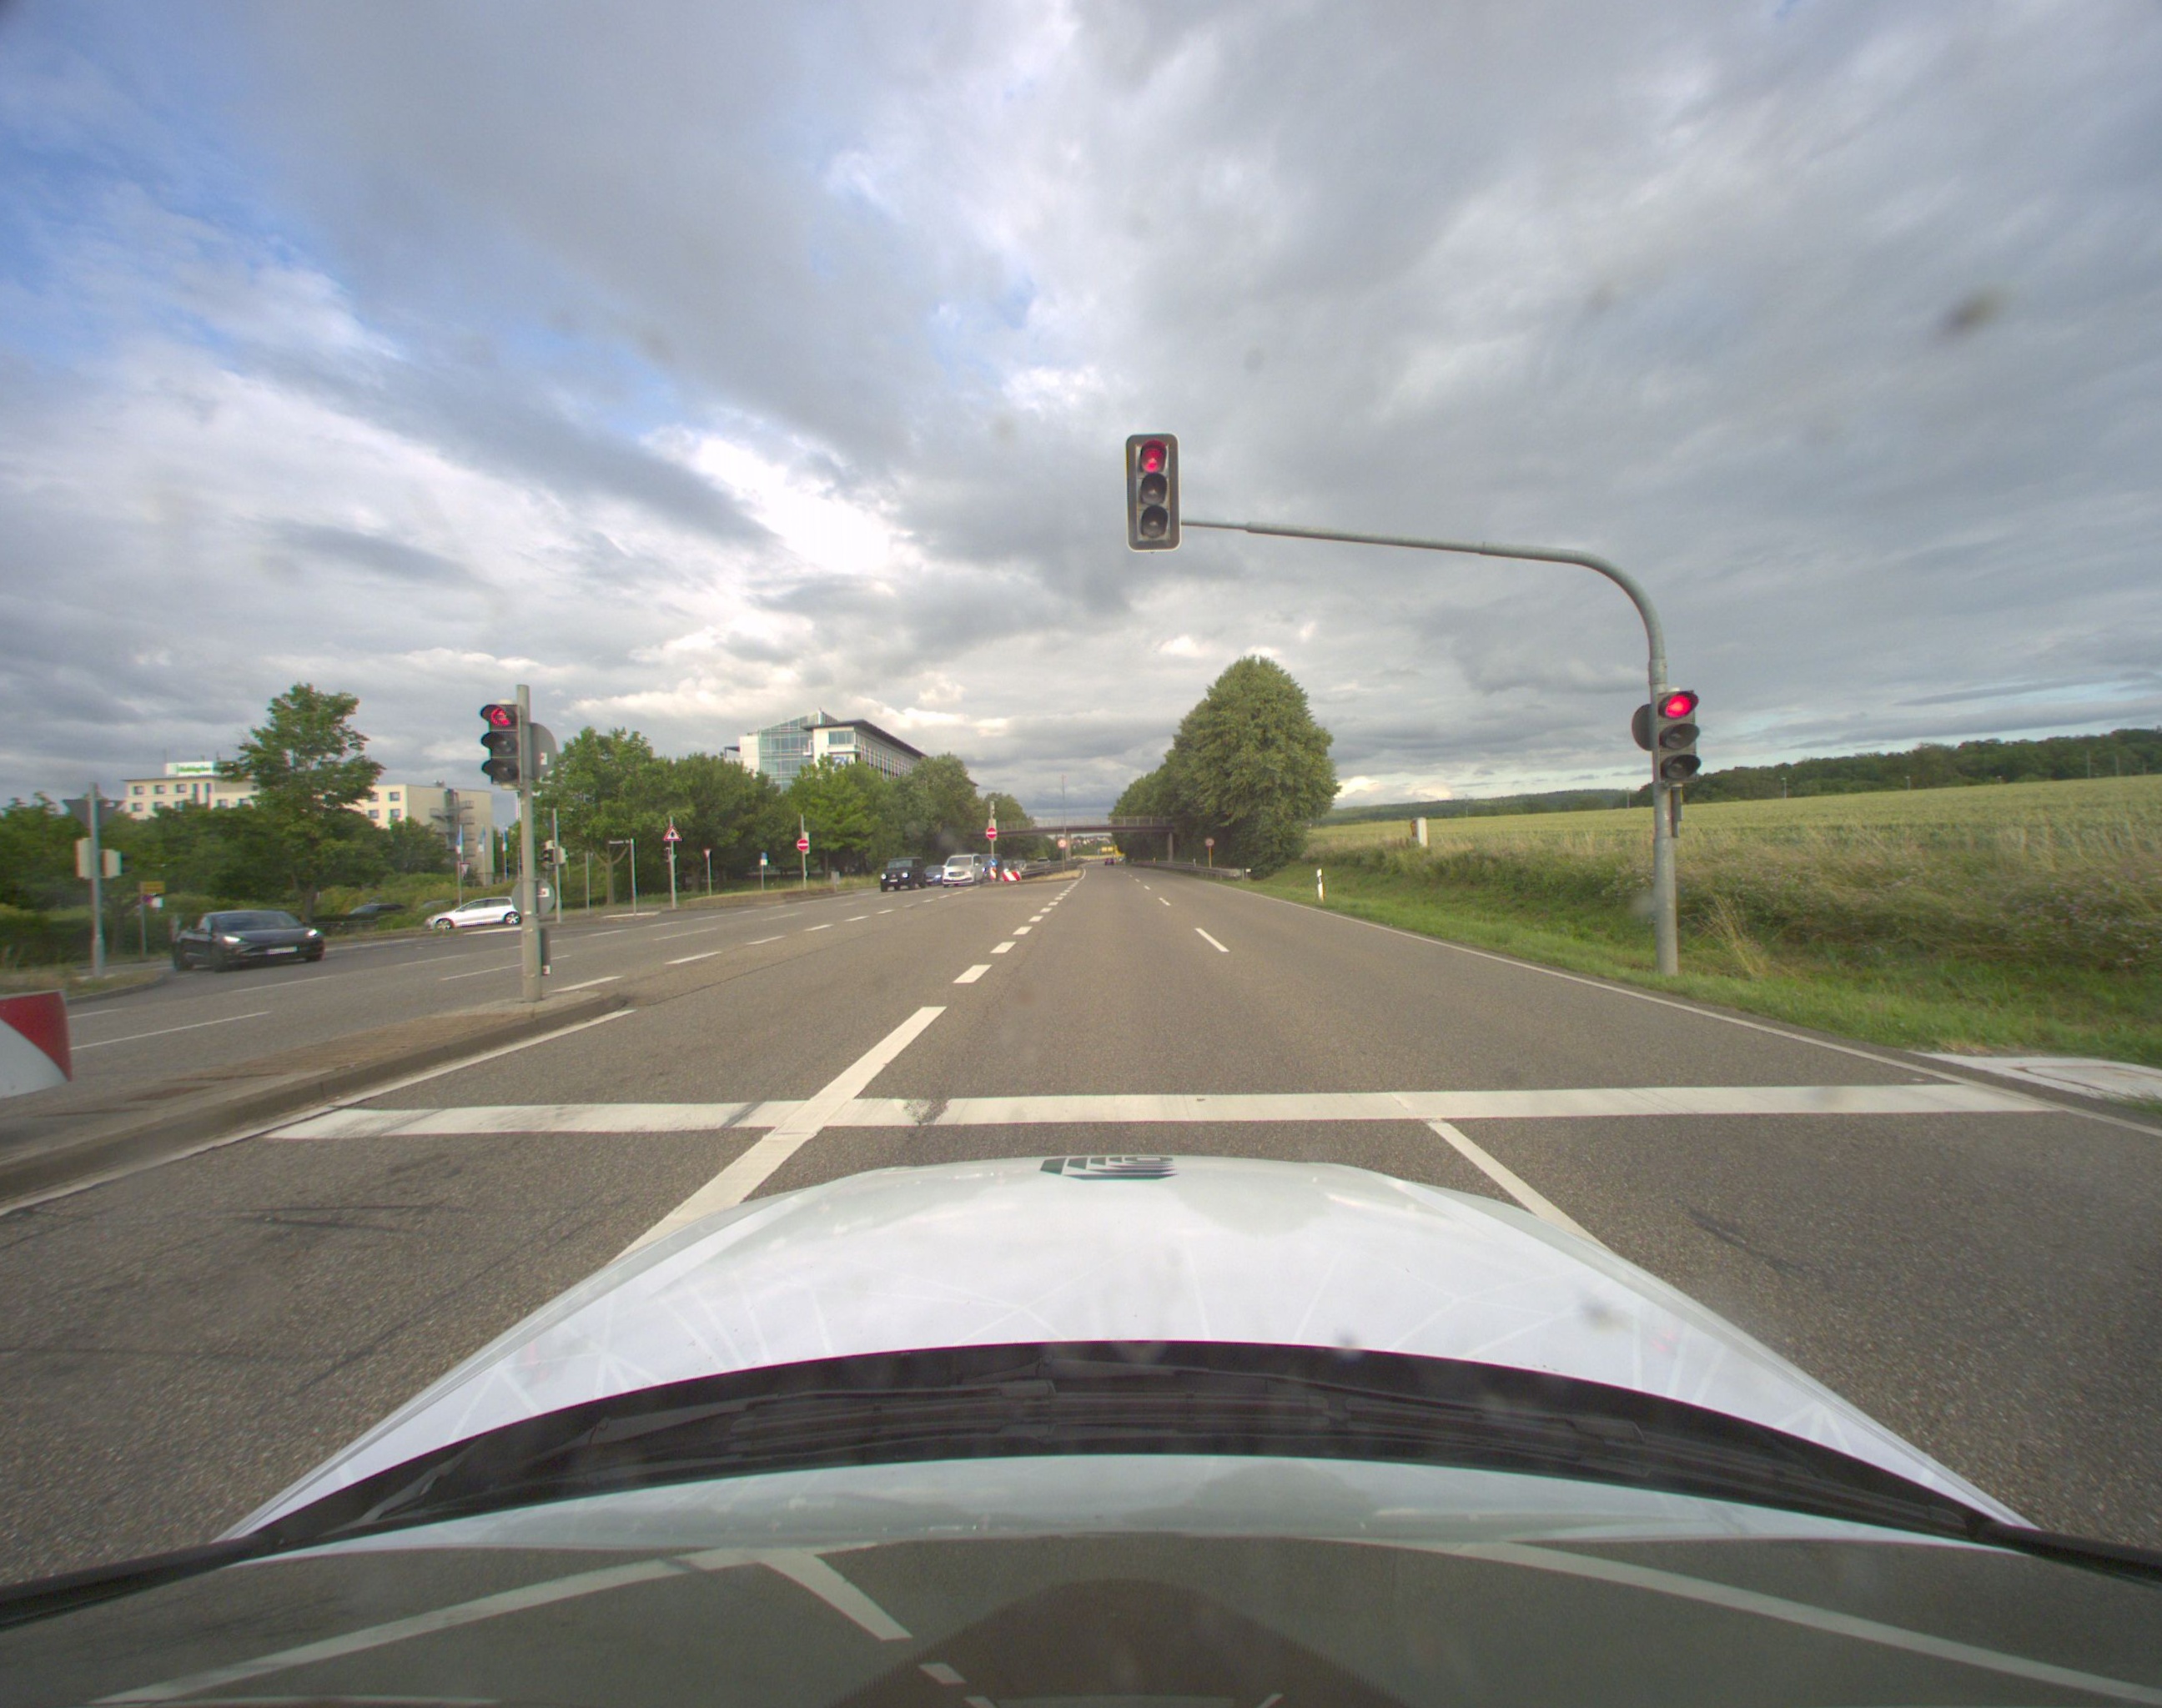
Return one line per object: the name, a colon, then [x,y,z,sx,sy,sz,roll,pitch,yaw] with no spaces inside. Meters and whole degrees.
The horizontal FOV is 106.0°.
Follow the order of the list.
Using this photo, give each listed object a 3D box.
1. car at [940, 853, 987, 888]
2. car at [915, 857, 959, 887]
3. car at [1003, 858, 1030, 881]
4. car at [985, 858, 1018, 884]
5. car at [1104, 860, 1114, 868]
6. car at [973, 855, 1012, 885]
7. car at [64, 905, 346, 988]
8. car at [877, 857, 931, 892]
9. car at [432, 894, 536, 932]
car: [-7.098,0.964,49.673,2.076,2.014,5.216,0,-1,1]
car: [-10.021,1.251,57.137,2.076,2.014,5.216,0,-1,1]
car: [-5.992,1.402,75.943,2.076,2.014,5.216,0,-1,1]
car: [-6.262,1.306,64.963,2.076,2.014,5.216,0,-1,1]
car: [5.585,1.965,165.222,1.873,1.552,3.999,0,-1,0]
car: [-6.180,1.072,57.392,2.076,2.014,5.216,0,-1,1]
car: [-20.906,2.173,19.623,4.354,1.457,1.917,-4,-2,-7]
car: [-10.719,1.188,49.648,2.076,2.014,5.216,0,-1,1]
car: [-28.630,2.818,39.178,3.761,1.342,1.572,-5,0,-29]
